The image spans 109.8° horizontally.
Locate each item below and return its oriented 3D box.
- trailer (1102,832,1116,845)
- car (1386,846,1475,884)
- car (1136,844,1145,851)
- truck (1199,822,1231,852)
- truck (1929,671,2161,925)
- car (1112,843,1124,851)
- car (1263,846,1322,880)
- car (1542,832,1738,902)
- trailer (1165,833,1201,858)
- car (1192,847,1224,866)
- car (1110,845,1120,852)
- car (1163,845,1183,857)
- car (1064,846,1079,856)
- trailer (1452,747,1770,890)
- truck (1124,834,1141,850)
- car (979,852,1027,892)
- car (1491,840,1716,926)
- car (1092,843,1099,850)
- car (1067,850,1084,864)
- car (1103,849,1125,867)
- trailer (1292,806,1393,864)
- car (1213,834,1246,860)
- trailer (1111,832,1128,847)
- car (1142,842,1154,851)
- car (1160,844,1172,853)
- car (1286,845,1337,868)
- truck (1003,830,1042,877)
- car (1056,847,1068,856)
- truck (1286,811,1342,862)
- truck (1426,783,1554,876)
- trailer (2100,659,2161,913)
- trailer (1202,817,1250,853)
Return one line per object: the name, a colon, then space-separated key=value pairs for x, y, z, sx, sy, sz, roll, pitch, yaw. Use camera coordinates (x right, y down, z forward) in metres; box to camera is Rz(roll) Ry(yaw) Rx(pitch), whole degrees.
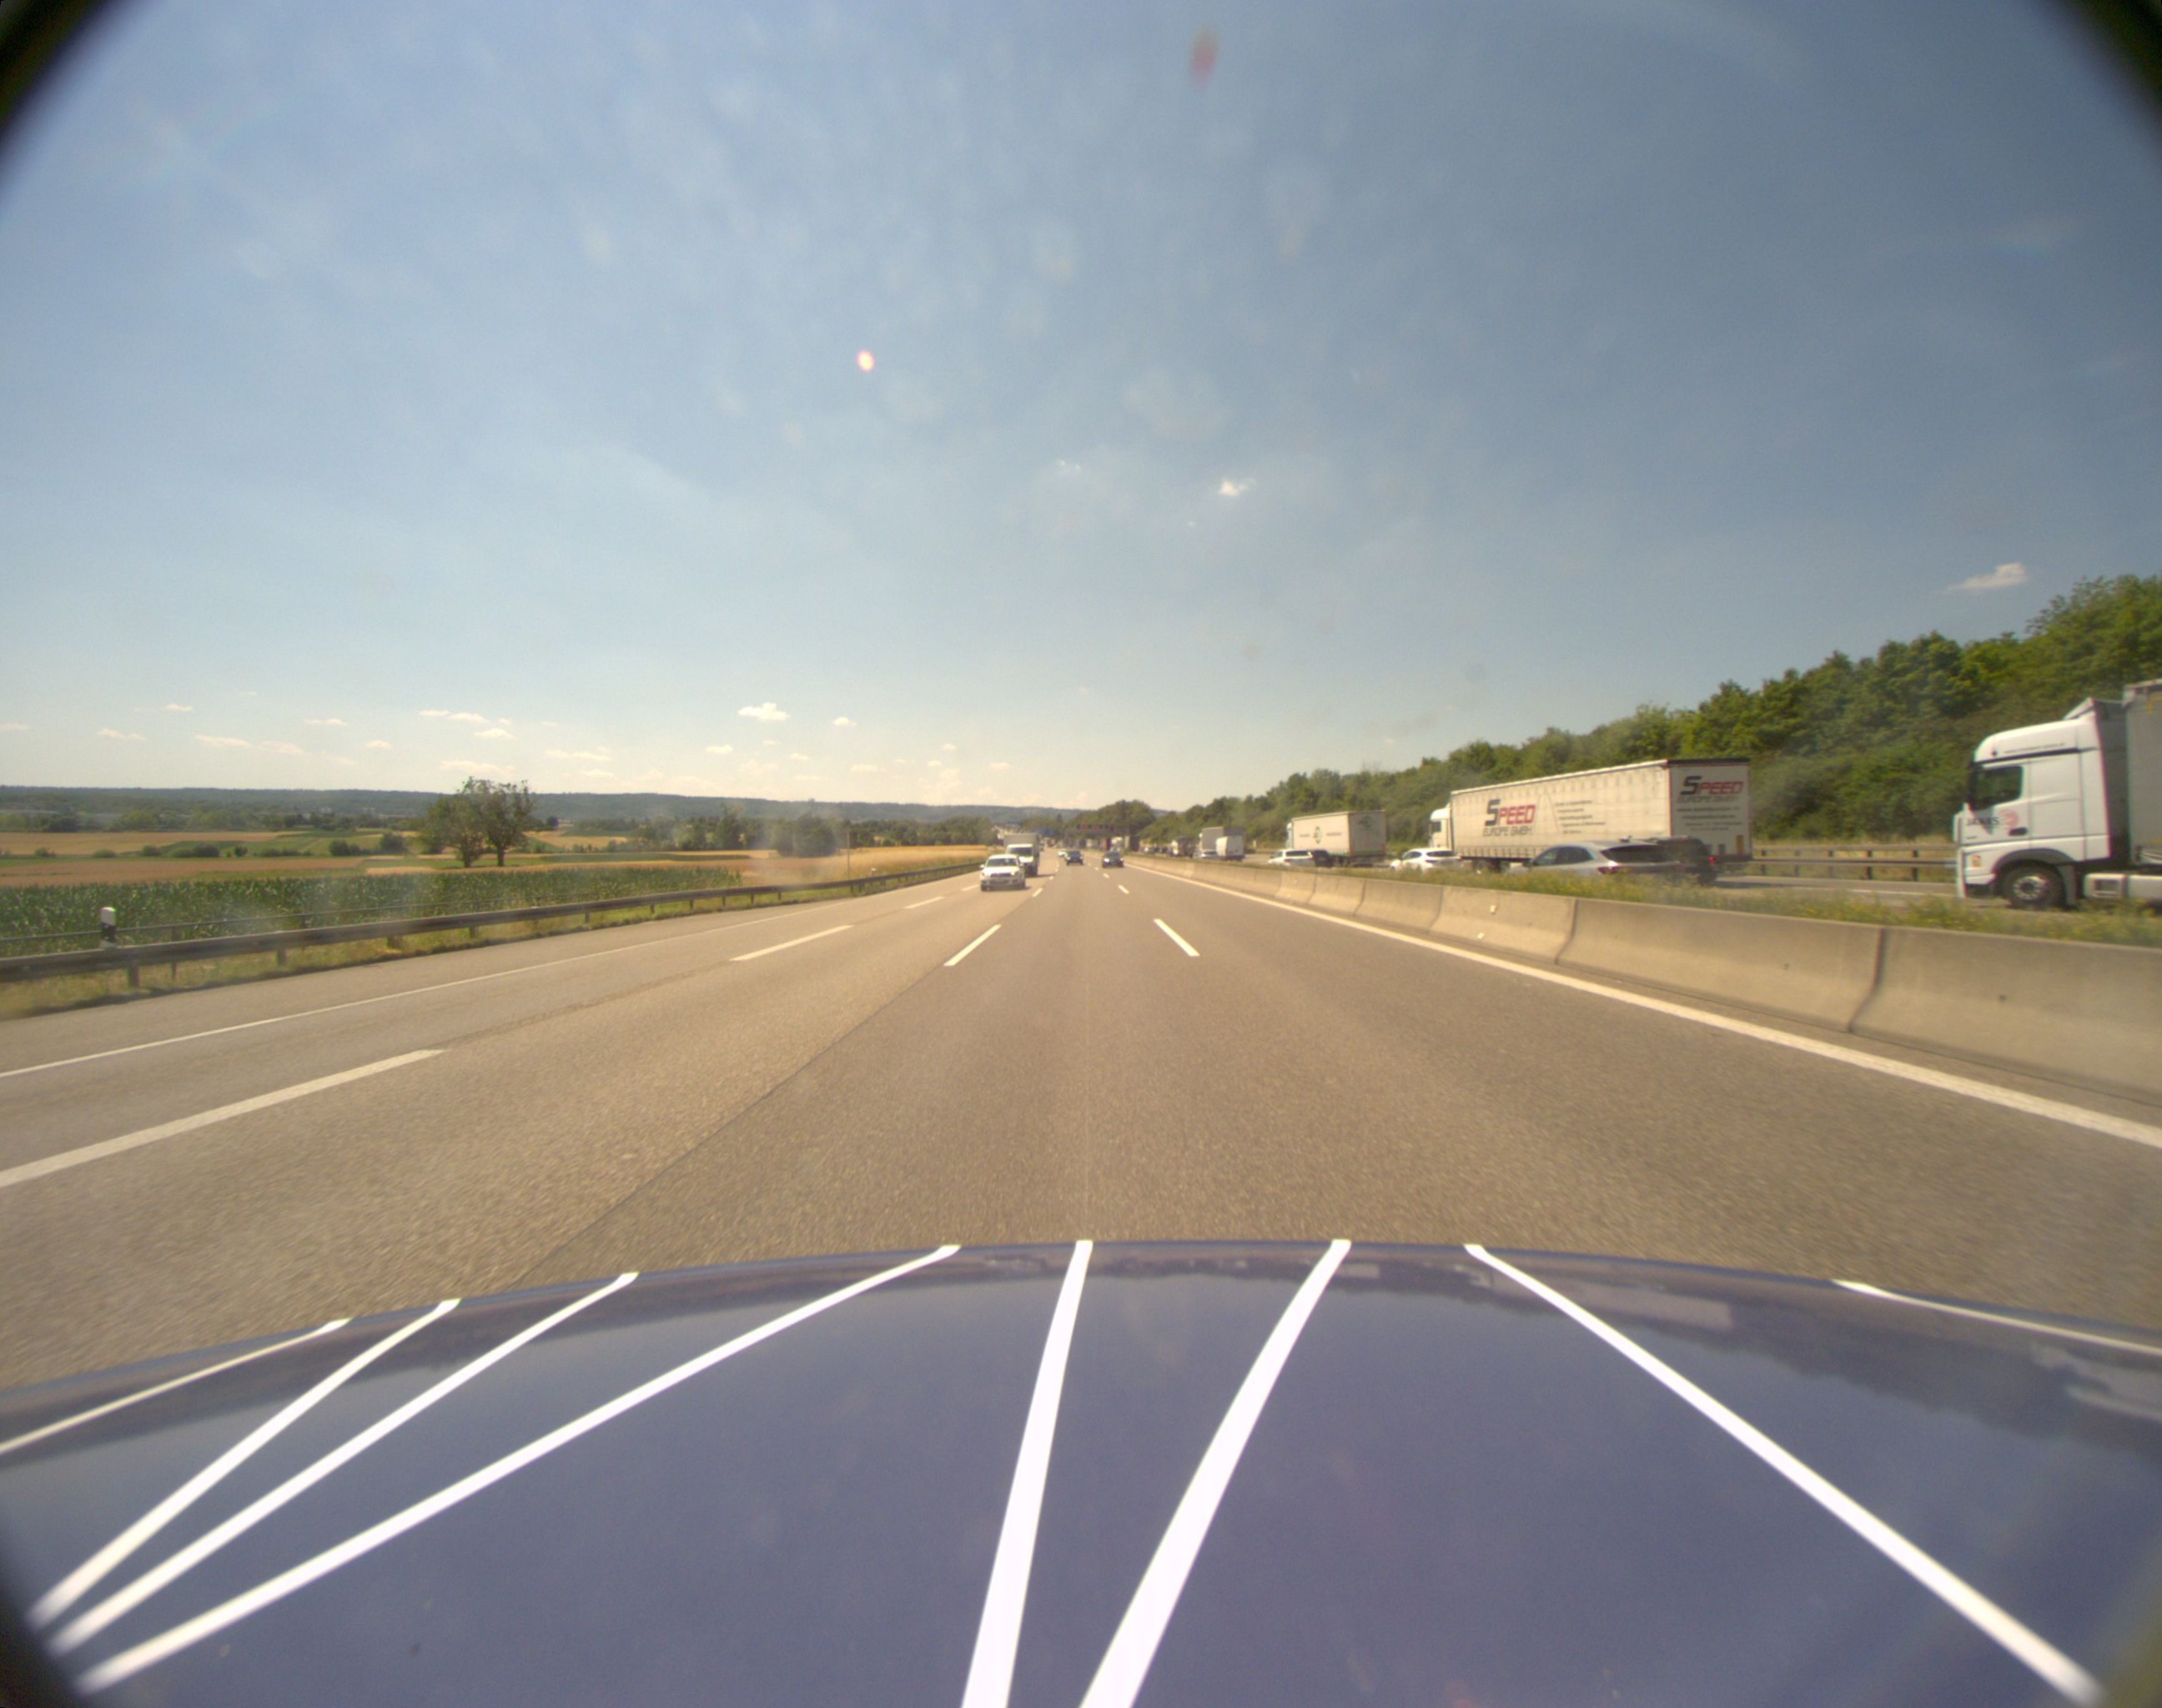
trailer: x=9.052 y=-4.889 z=244.495 sx=2.947 sy=4.087 sz=14.076 roll=-1 pitch=1 yaw=-4
car: x=15.251 y=0.436 z=33.452 sx=1.886 sy=1.466 sz=4.405 roll=-2 pitch=1 yaw=0
car: x=13.634 y=-1.464 z=174.611 sx=1.751 sy=1.396 sz=4.211 roll=-1 pitch=1 yaw=1
truck: x=18.692 y=-2.364 z=106.545 sx=3.208 sy=4.109 sz=6.181 roll=-1 pitch=1 yaw=-2
truck: x=19.294 y=-0.976 z=12.686 sx=2.969 sy=4.186 sz=6.604 roll=-2 pitch=1 yaw=2
car: x=7.749 y=-1.487 z=158.813 sx=1.999 sy=1.436 sz=4.790 roll=-2 pitch=1 yaw=-3
car: x=11.696 y=0.456 z=42.268 sx=1.999 sy=1.634 sz=4.405 roll=-2 pitch=1 yaw=-1
car: x=15.504 y=0.305 z=21.484 sx=1.998 sy=1.705 sz=4.791 roll=-2 pitch=1 yaw=0
trailer: x=14.119 y=-1.216 z=105.833 sx=2.877 sy=3.166 sz=10.723 roll=-2 pitch=2 yaw=-3
car: x=11.395 y=0.227 z=68.439 sx=1.999 sy=1.569 sz=4.594 roll=-2 pitch=1 yaw=-1
car: x=8.337 y=-1.351 z=186.105 sx=1.999 sy=1.512 sz=5.149 roll=-1 pitch=1 yaw=-3
car: x=13.684 y=-0.464 z=113.522 sx=2.113 sy=1.713 sz=4.928 roll=-1 pitch=1 yaw=-3
car: x=-1.302 y=-0.423 z=107.843 sx=1.865 sy=1.322 sz=3.999 roll=-1 pitch=1 yaw=1
trailer: x=19.520 y=-1.133 z=30.048 sx=2.818 sy=4.253 sz=13.867 roll=-2 pitch=0 yaw=0
truck: x=13.067 y=-2.940 z=193.043 sx=3.017 sy=3.894 sz=10.350 roll=-1 pitch=1 yaw=-3
car: x=-3.583 y=0.790 z=35.742 sx=1.837 sy=1.636 sz=4.171 roll=-2 pitch=1 yaw=-1
car: x=11.749 y=0.560 z=17.592 sx=1.936 sy=1.678 sz=4.796 roll=-1 pitch=0 yaw=0
car: x=4.663 y=-2.443 z=248.526 sx=1.962 sy=2.018 sz=4.542 roll=-1 pitch=1 yaw=-5
car: x=-0.623 y=0.353 z=84.548 sx=1.866 sy=1.426 sz=3.998 roll=-1 pitch=1 yaw=-1
car: x=2.971 y=0.403 z=69.741 sx=1.807 sy=1.534 sz=4.750 roll=-1 pitch=-1 yaw=1
trailer: x=19.595 y=-1.368 z=58.228 sx=2.910 sy=3.851 sz=13.874 roll=-2 pitch=1 yaw=0
car: x=15.333 y=-0.773 z=78.915 sx=1.902 sy=2.559 sz=7.570 roll=-2 pitch=1 yaw=0
trailer: x=10.935 y=-4.210 z=217.968 sx=2.946 sy=4.141 sz=14.163 roll=-2 pitch=2 yaw=-4
car: x=12.195 y=-1.404 z=138.580 sx=1.846 sy=1.667 sz=4.441 roll=-1 pitch=1 yaw=2
car: x=16.379 y=-1.087 z=147.094 sx=1.998 sy=1.512 sz=4.307 roll=-1 pitch=1 yaw=2
car: x=15.722 y=0.165 z=52.018 sx=1.881 sy=1.426 sz=4.923 roll=-2 pitch=1 yaw=-1
truck: x=-4.049 y=-0.096 z=53.476 sx=2.446 sy=3.011 sz=6.913 roll=-2 pitch=1 yaw=-4
car: x=-3.609 y=-0.522 z=142.492 sx=1.999 sy=1.467 sz=3.998 roll=-2 pitch=2 yaw=-3
truck: x=19.572 y=-1.458 z=64.212 sx=2.855 sy=3.984 sz=5.973 roll=-2 pitch=1 yaw=0
truck: x=19.522 y=-1.119 z=36.744 sx=2.762 sy=4.019 sz=6.098 roll=-2 pitch=1 yaw=-1
trailer: x=19.175 y=-1.084 z=6.143 sx=2.989 sy=4.182 sz=14.191 roll=-2 pitch=1 yaw=1
trailer: x=18.927 y=-2.442 z=100.375 sx=3.230 sy=4.396 sz=13.775 roll=-1 pitch=1 yaw=-1
